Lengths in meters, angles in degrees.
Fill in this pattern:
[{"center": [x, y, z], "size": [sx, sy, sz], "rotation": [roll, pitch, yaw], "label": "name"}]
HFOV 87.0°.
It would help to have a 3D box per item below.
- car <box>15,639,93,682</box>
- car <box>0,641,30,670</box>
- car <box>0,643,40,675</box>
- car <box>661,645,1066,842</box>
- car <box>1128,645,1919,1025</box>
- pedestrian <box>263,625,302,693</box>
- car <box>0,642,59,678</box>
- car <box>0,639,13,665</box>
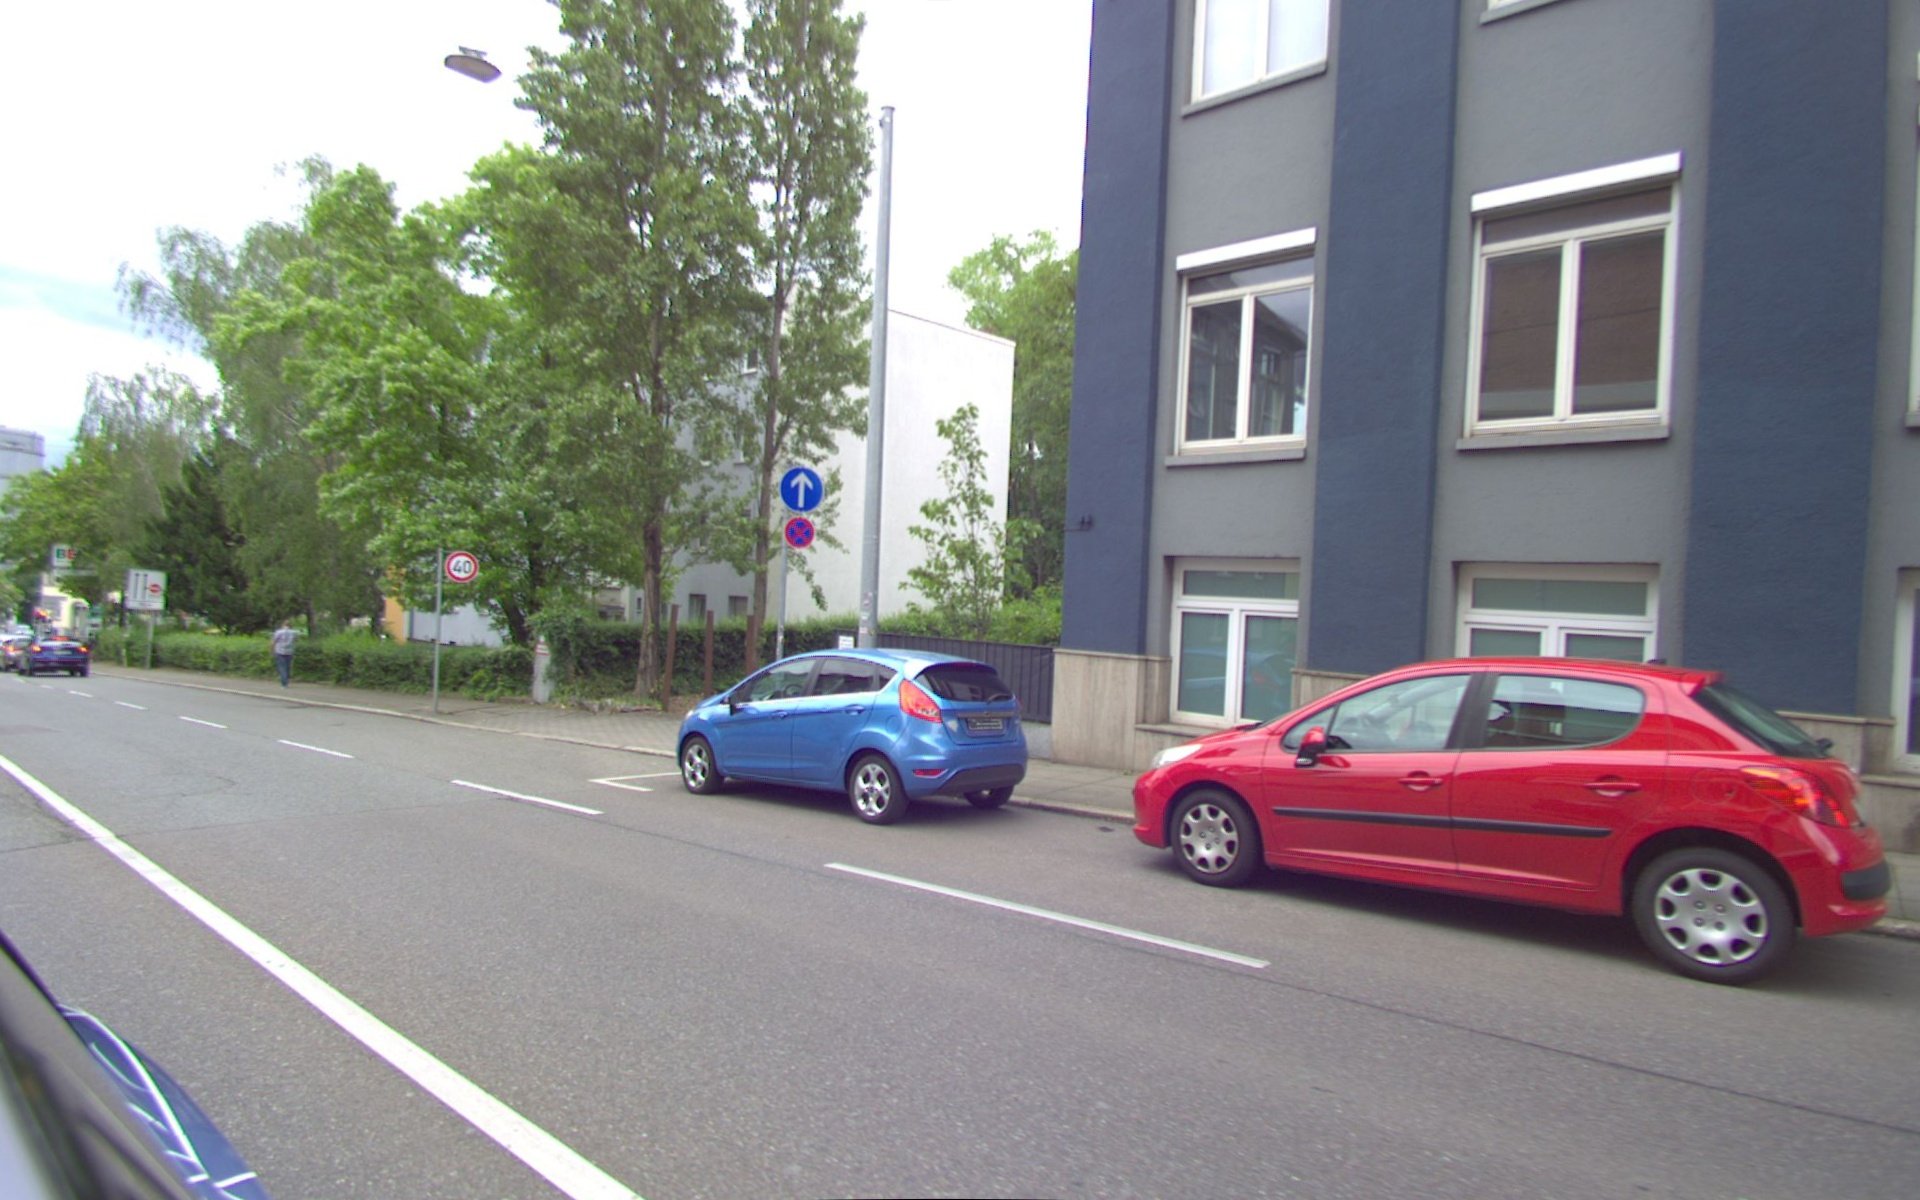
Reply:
[{"center": [-33.372, 2.205, 37.246], "size": [3.727, 1.495, 1.701], "rotation": [-2, -4, 42], "label": "car"}, {"center": [-48.697, 2.780, 51.444], "size": [3.727, 1.427, 1.701], "rotation": [-2, -4, 42], "label": "car"}, {"center": [-44.469, 2.732, 47.368], "size": [3.727, 1.427, 1.701], "rotation": [-2, -4, 42], "label": "car"}, {"center": [-1.019, 1.194, 9.606], "size": [3.724, 1.465, 1.702], "rotation": [-2, -4, 40], "label": "car"}, {"center": [3.122, 1.055, 5.972], "size": [3.869, 1.485, 1.795], "rotation": [-2, -5, 43], "label": "car"}, {"center": [-18.982, 1.630, 28.346], "size": [0.776, 1.864, 0.736], "rotation": [-2, -2, 42], "label": "pedestrian"}, {"center": [-39.131, 2.501, 42.371], "size": [3.727, 1.427, 1.701], "rotation": [-2, -4, 42], "label": "car"}, {"center": [-53.665, 2.847, 55.864], "size": [3.727, 1.427, 1.701], "rotation": [-2, -4, 42], "label": "car"}]
